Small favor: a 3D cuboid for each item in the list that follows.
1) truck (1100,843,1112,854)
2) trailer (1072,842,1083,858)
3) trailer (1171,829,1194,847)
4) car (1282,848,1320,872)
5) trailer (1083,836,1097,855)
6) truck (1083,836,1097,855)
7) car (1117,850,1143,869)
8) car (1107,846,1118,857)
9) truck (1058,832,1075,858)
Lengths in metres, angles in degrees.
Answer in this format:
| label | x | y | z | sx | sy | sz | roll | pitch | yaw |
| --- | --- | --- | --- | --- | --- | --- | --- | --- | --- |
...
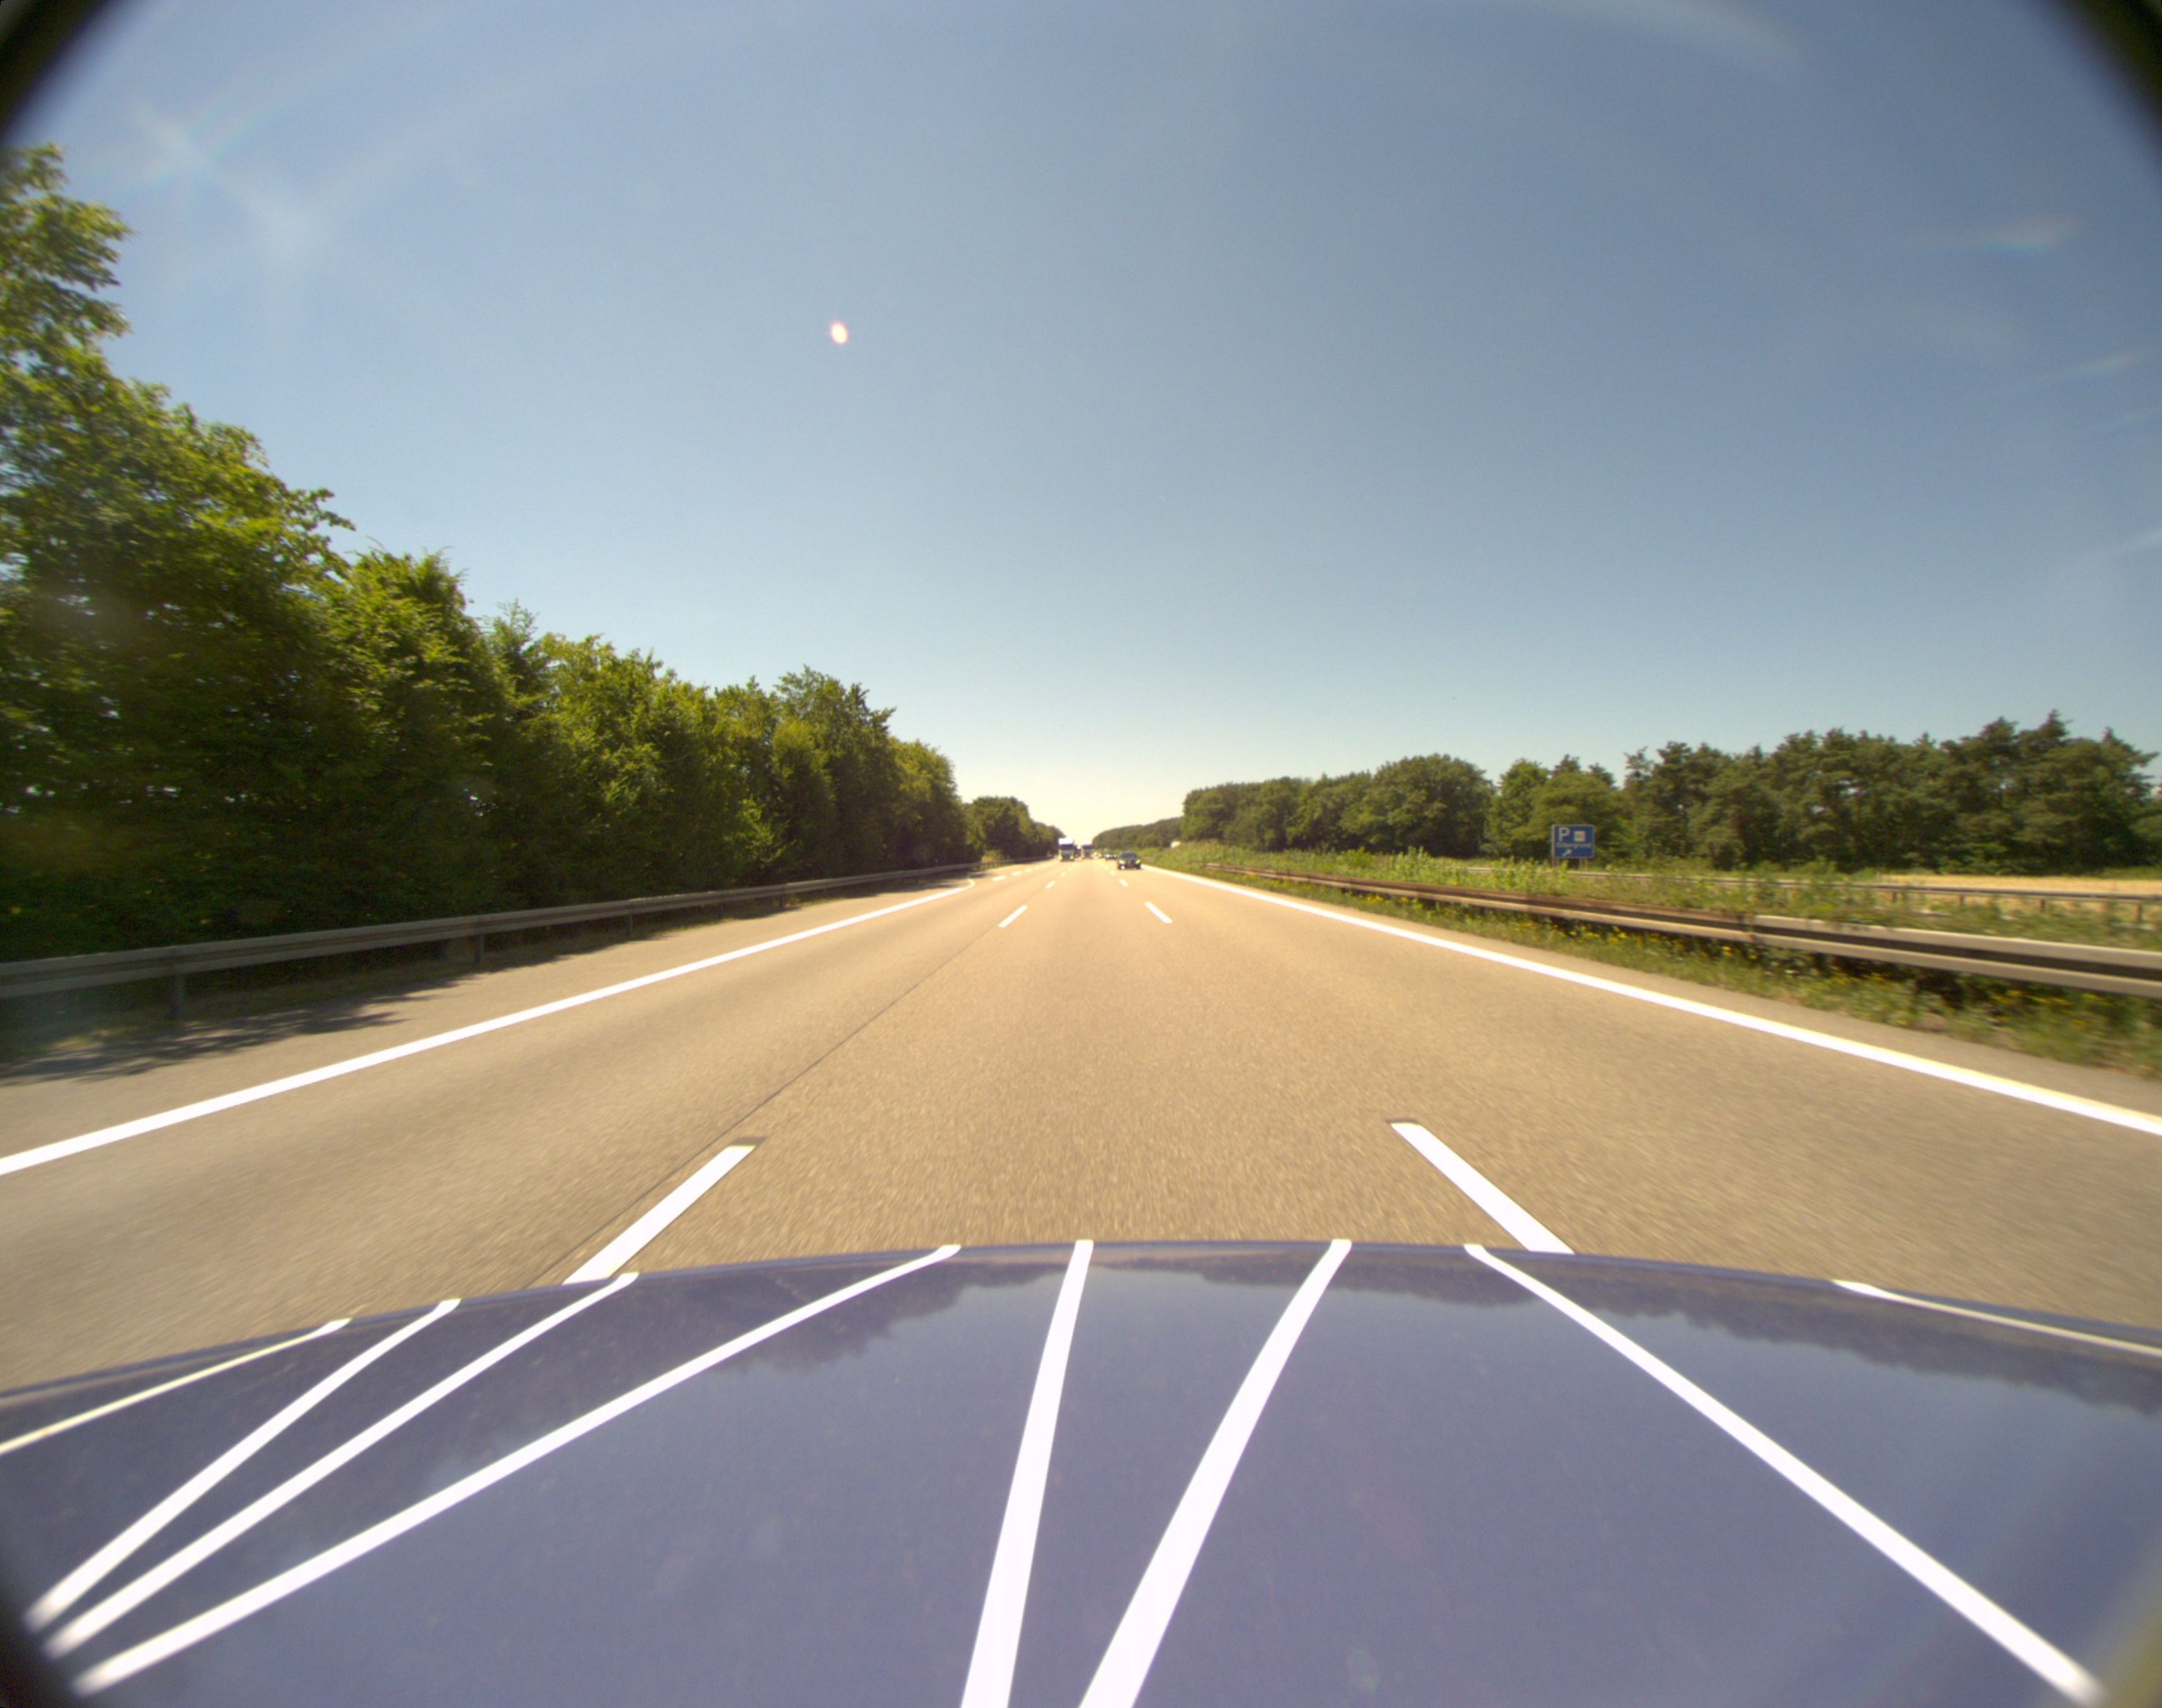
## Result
| label | x | y | z | sx | sy | sz | roll | pitch | yaw |
| --- | --- | --- | --- | --- | --- | --- | --- | --- | --- |
| truck | 5.962 | -1.342 | 181.486 | 2.576 | 2.461 | 5.614 | -2 | 1 | 0 |
| trailer | -0.924 | -1.082 | 206.307 | 2.864 | 4.247 | 11.469 | -2 | 1 | -1 |
| trailer | 22.526 | -3.515 | 169.185 | 3.187 | 3.677 | 14.381 | -2 | 0 | 1 |
| car | 17.019 | 0.422 | 58.923 | 1.879 | 1.768 | 4.000 | 0 | 1 | 1 |
| trailer | 2.033 | -1.982 | 178.148 | 2.863 | 4.247 | 11.470 | -2 | 1 | 0 |
| truck | 2.034 | -1.929 | 171.526 | 2.863 | 4.247 | 5.410 | -2 | 1 | 0 |
| car | 4.092 | 0.482 | 63.494 | 1.811 | 1.399 | 4.000 | -3 | -1 | -1 |
| car | 5.407 | -0.483 | 129.840 | 1.806 | 1.774 | 3.999 | -1 | 1 | 1 |
| truck | -2.608 | -1.580 | 135.046 | 2.864 | 4.247 | 6.862 | -2 | 1 | -1 |
